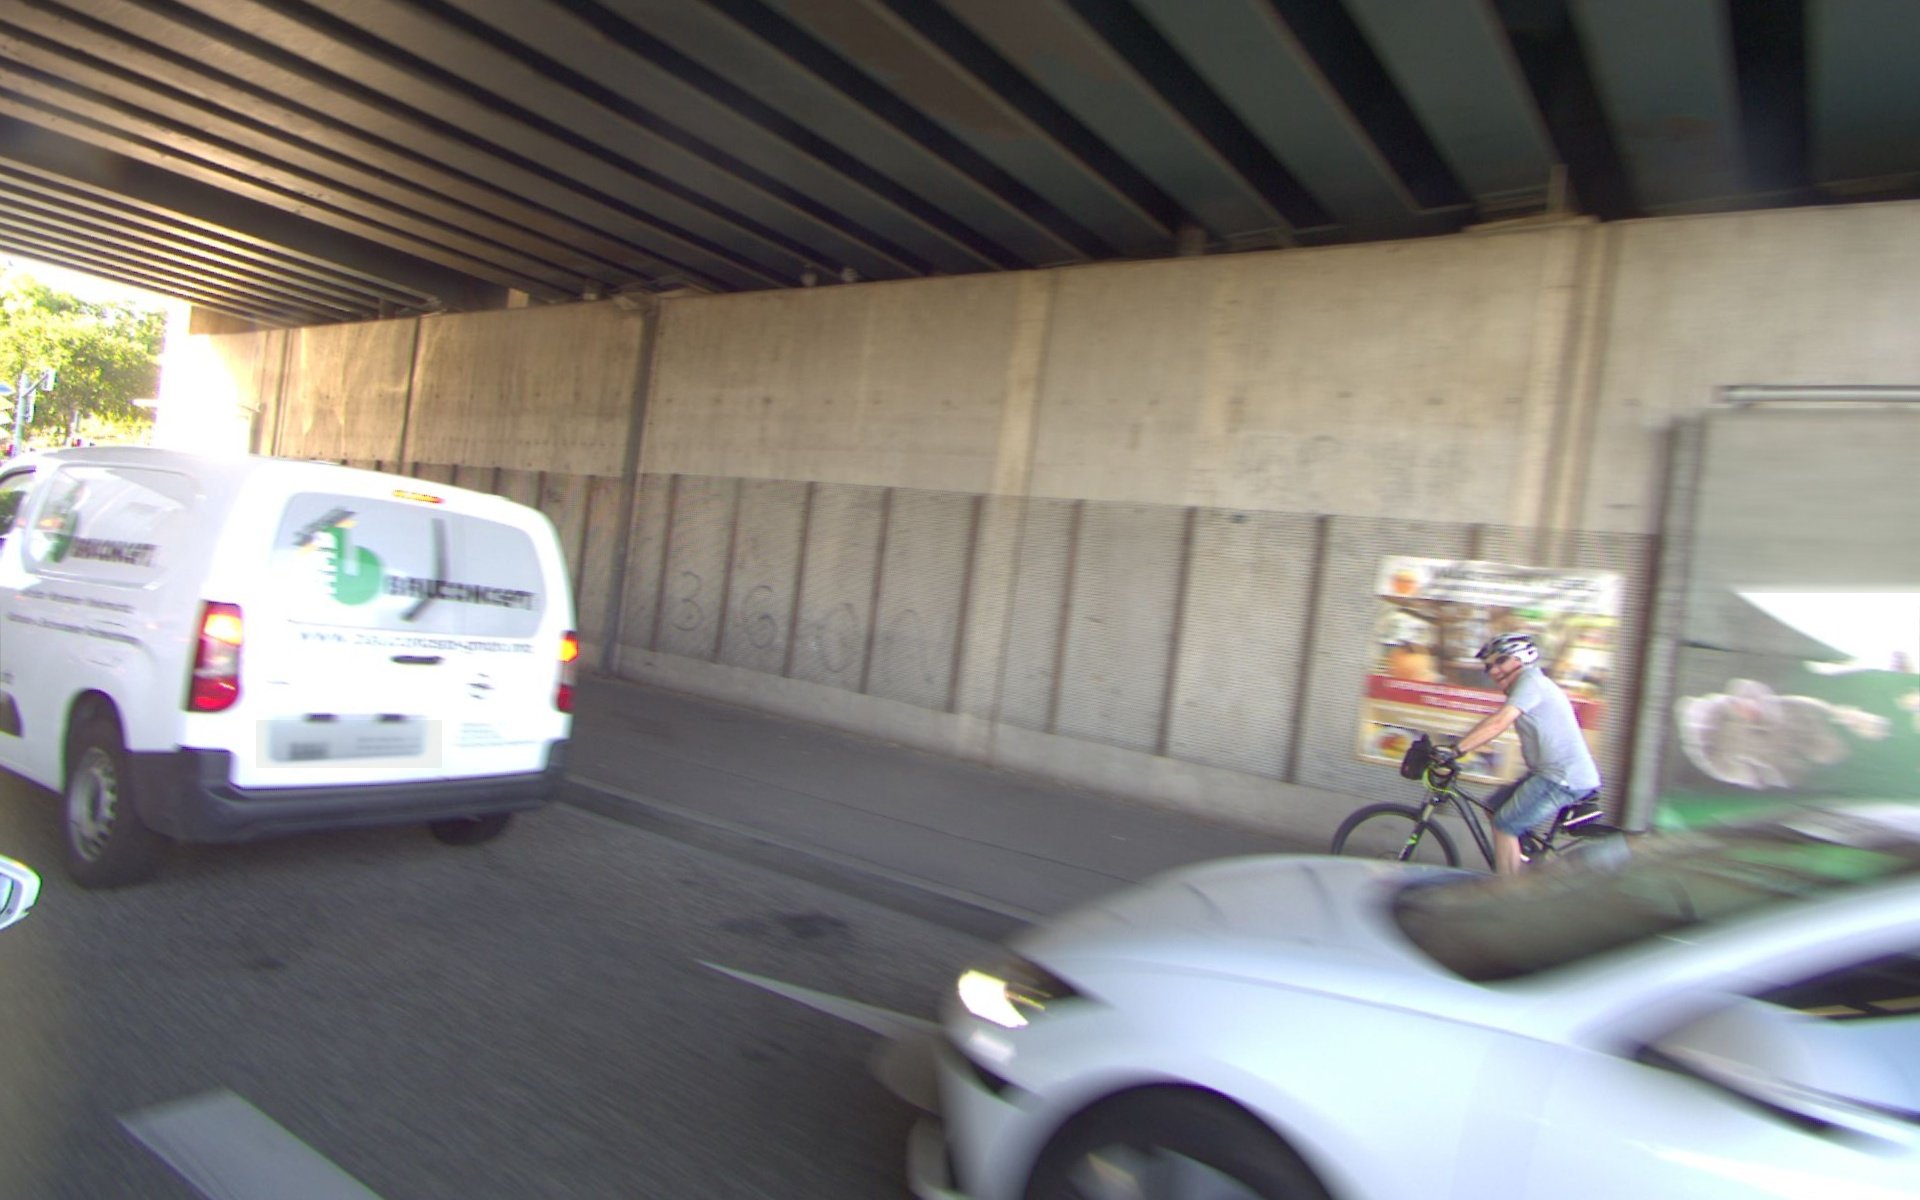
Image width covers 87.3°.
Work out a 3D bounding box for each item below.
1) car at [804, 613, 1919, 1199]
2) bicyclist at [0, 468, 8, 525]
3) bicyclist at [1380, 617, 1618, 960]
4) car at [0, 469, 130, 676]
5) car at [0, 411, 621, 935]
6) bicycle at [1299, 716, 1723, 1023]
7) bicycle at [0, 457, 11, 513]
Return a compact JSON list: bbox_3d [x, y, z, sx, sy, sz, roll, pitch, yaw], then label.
[{"bbox_3d":[2.117,1.081,1.914,4.585,1.473,1.750,7,-2,30],"label":"car"},{"bbox_3d":[-19.015,-1.774,19.465,0.635,1.647,0.676,6,-2,44],"label":"bicyclist"},{"bbox_3d":[2.821,0.912,5.267,0.895,1.544,0.695,6,2,33],"label":"bicyclist"},{"bbox_3d":[-9.649,-0.446,9.269,3.924,1.674,1.782,7,-2,32],"label":"car"},{"bbox_3d":[-4.087,0.137,5.434,4.229,1.855,1.817,7,-2,32],"label":"car"},{"bbox_3d":[2.806,1.295,5.264,1.732,1.071,0.701,7,2,33],"label":"bicycle"},{"bbox_3d":[-18.950,-2.266,19.472,1.509,1.036,0.676,5,-2,44],"label":"bicycle"}]
